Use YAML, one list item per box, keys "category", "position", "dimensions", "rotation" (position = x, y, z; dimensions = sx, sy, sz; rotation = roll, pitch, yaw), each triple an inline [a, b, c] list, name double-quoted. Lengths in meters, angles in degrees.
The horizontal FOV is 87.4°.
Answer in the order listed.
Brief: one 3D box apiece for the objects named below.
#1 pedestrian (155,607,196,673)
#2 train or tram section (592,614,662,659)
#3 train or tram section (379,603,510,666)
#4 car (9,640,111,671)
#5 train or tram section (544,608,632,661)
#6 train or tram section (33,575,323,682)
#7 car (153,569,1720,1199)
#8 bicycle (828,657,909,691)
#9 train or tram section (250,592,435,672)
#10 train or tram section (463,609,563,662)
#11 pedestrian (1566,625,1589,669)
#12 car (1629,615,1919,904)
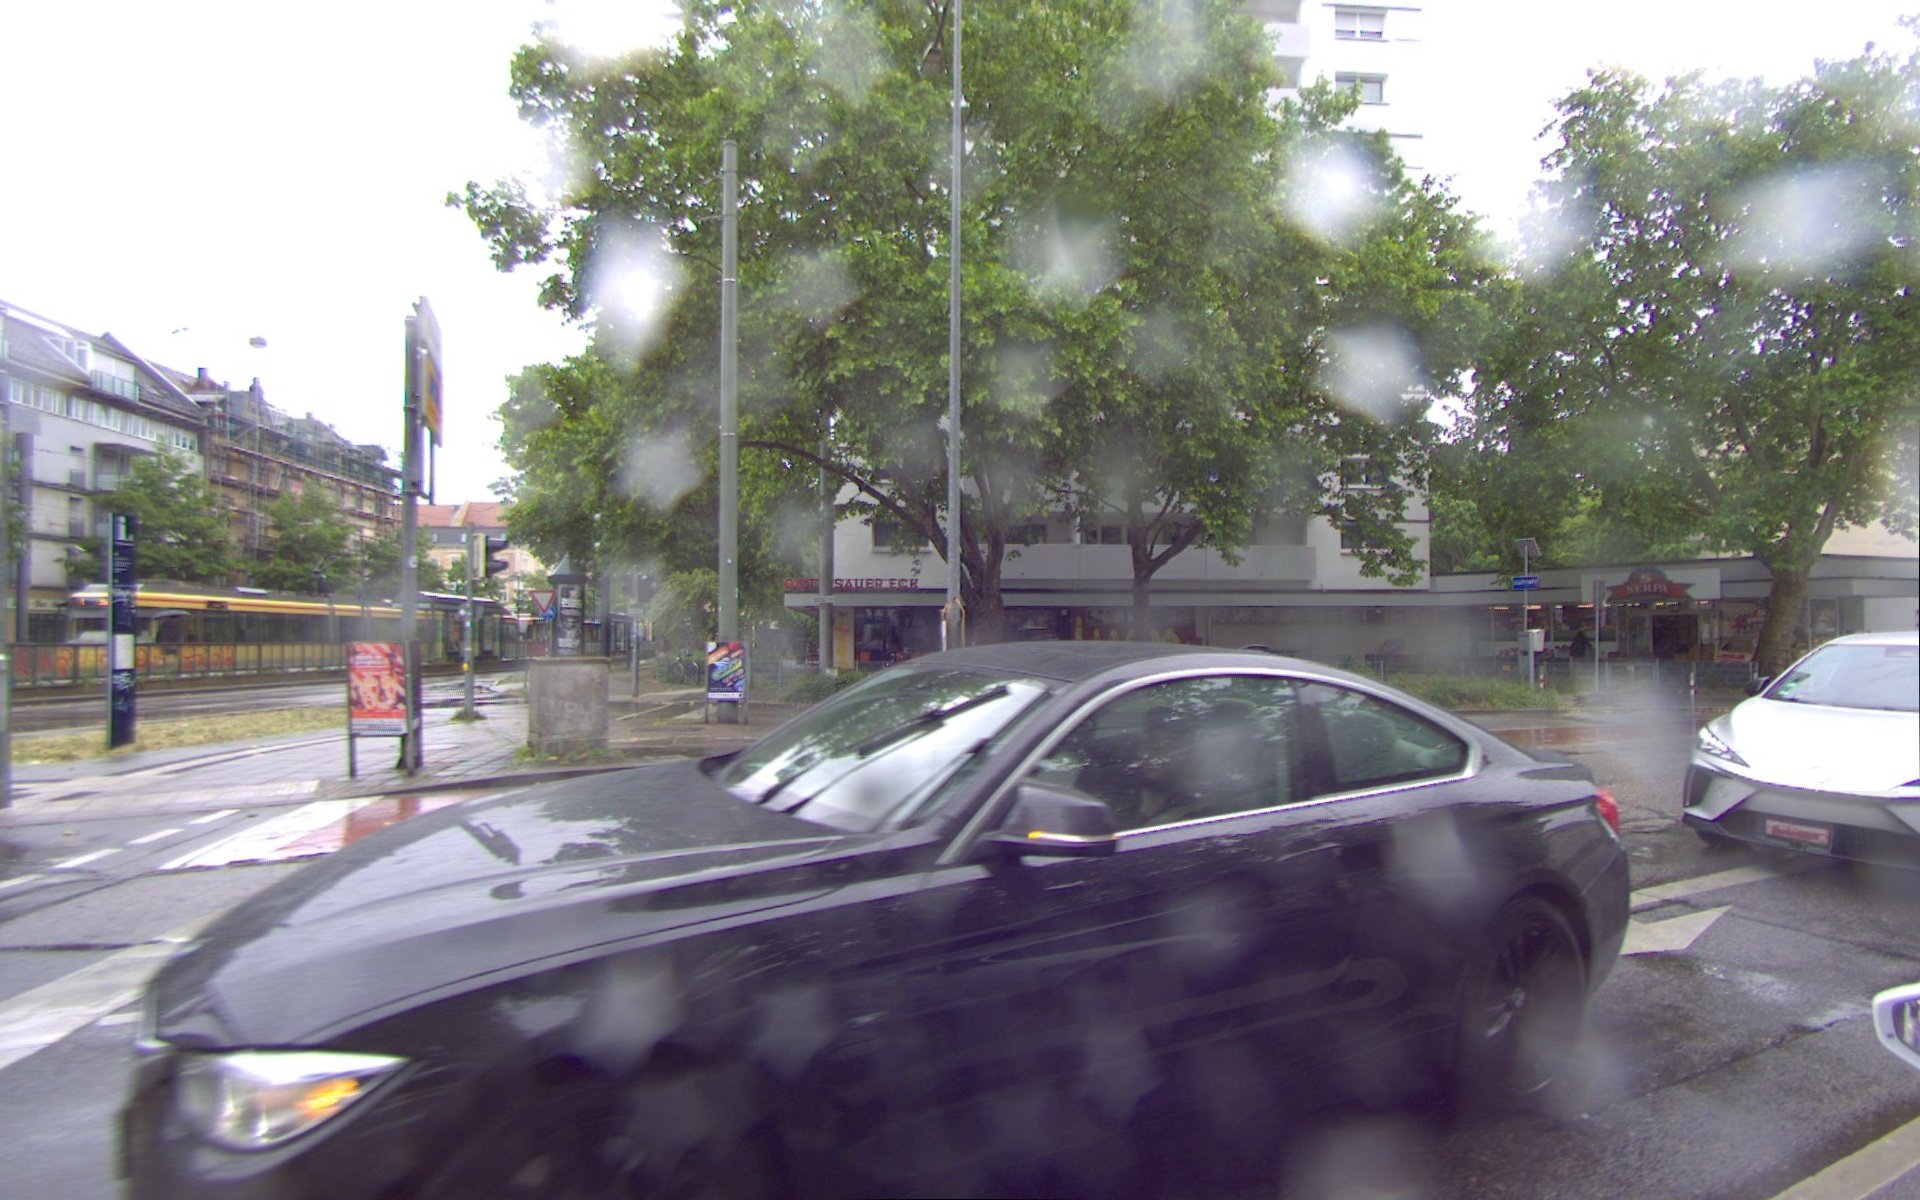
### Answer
- category: "pedestrian"
  position: [-22.430, 1.152, 28.736]
  dimensions: [0.628, 1.862, 0.679]
  rotation: [0, -3, -6]
- category: "train or tram section"
  position: [-27.752, 3.097, 84.336]
  dimensions: [3.014, 3.550, 11.572]
  rotation: [0, -2, -5]
- category: "train or tram section"
  position: [-31.509, 2.170, 62.147]
  dimensions: [3.014, 3.550, 11.572]
  rotation: [0, -2, -5]
- category: "car"
  position: [-44.830, 2.745, 50.150]
  dimensions: [1.791, 1.438, 3.997]
  rotation: [0, -2, -6]
- category: "train or tram section"
  position: [-26.739, 2.563, 72.897]
  dimensions: [3.014, 3.550, 11.572]
  rotation: [0, -2, -5]
- category: "train or tram section"
  position: [-29.595, 1.194, 39.110]
  dimensions: [3.014, 3.550, 11.572]
  rotation: [0, -2, -5]
- category: "car"
  position: [0.358, 0.741, 3.208]
  dimensions: [4.310, 1.408, 1.735]
  rotation: [2, -2, -29]
- category: "bicycle"
  position: [-2.646, 2.127, 29.089]
  dimensions: [2.271, 0.880, 0.639]
  rotation: [0, -1, 19]
- category: "train or tram section"
  position: [-30.573, 1.666, 50.642]
  dimensions: [3.014, 3.550, 11.572]
  rotation: [0, -2, -5]
- category: "train or tram section"
  position: [-32.487, 2.657, 73.656]
  dimensions: [3.014, 3.550, 11.572]
  rotation: [0, -2, -5]
- category: "pedestrian"
  position: [23.437, 1.781, 38.127]
  dimensions: [0.637, 1.650, 0.564]
  rotation: [2, -3, -44]
- category: "car"
  position: [6.567, 0.900, 6.794]
  dimensions: [4.008, 1.530, 1.836]
  rotation: [1, -3, -31]
